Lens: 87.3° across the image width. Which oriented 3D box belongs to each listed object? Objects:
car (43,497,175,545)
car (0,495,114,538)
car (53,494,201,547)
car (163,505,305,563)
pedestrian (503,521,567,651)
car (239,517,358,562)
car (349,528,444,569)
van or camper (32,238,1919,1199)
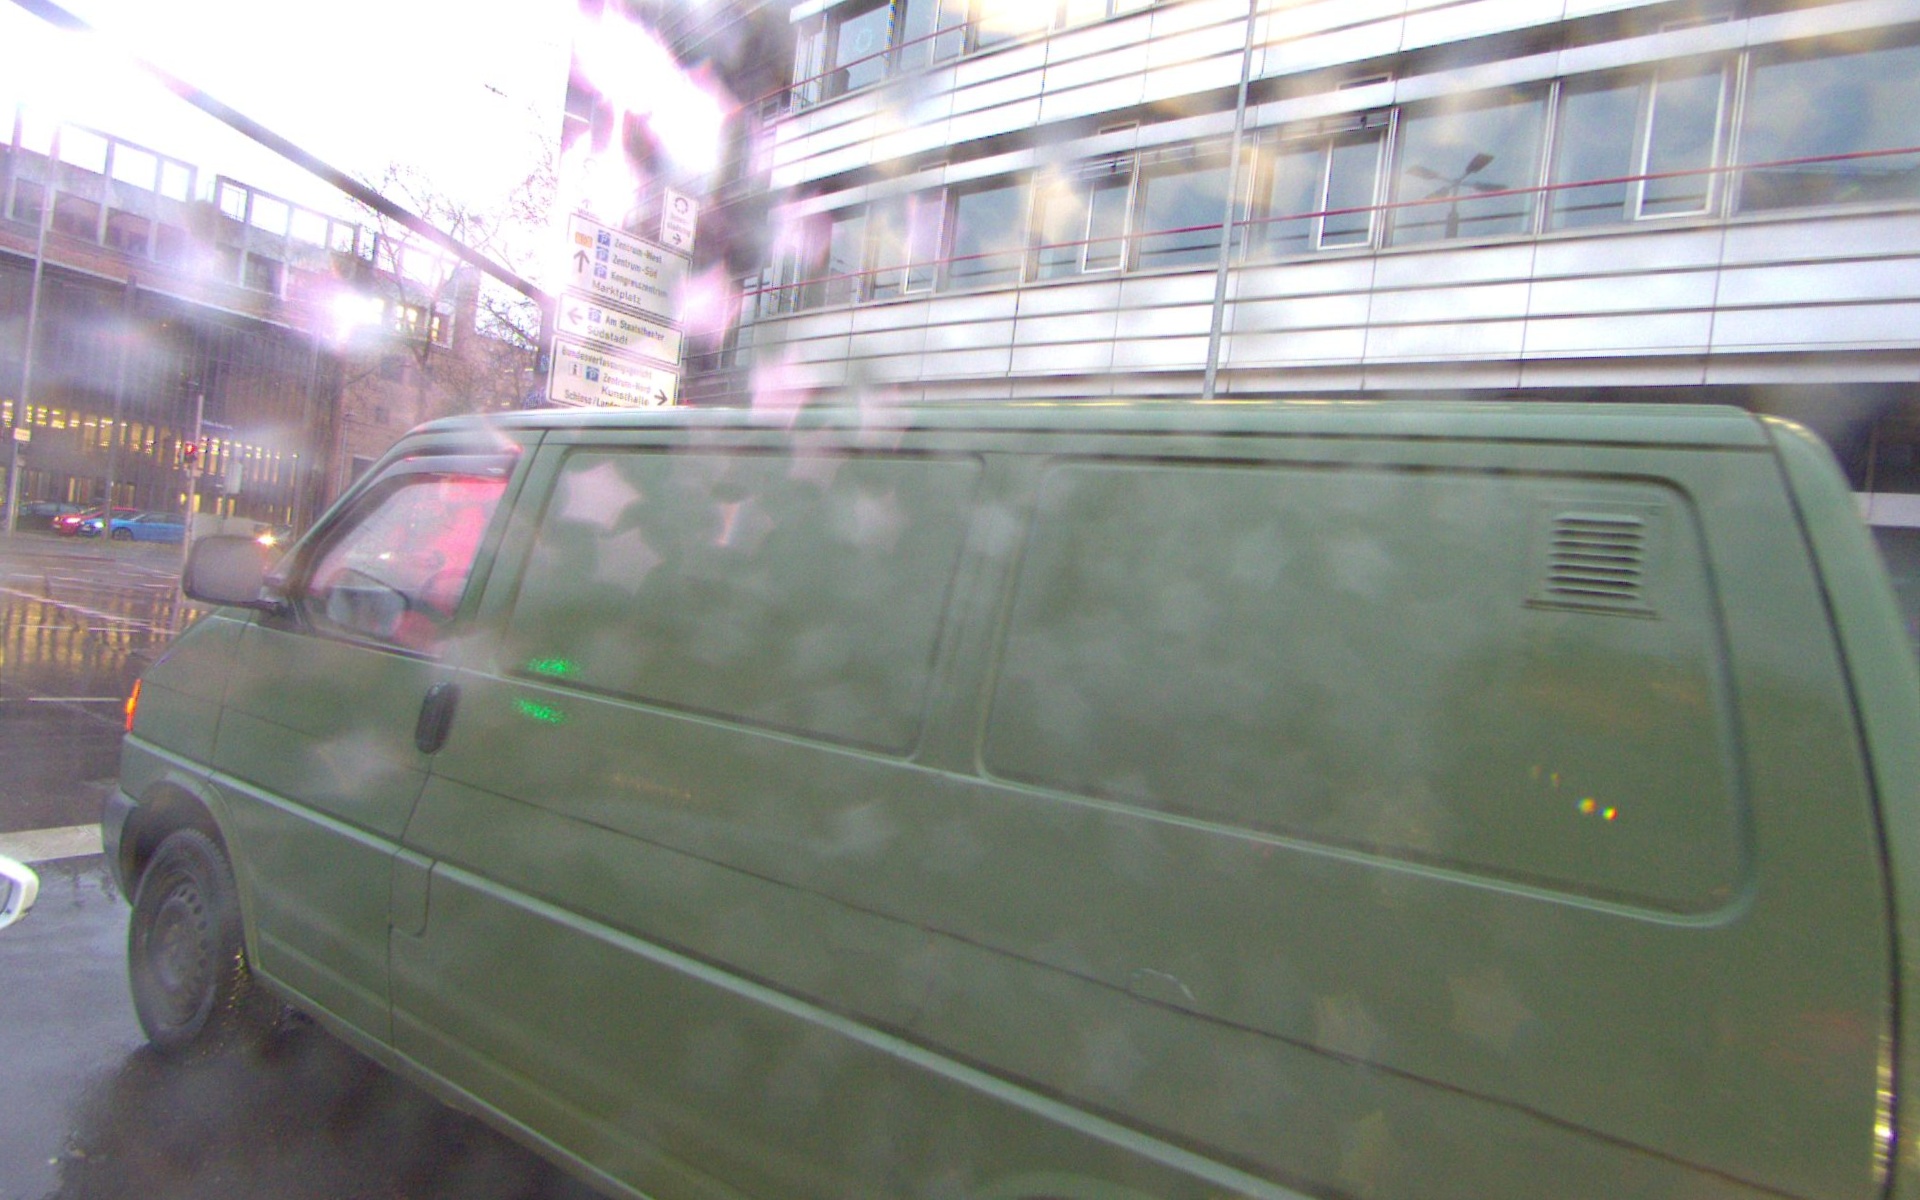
[{"bbox_3d":[-35.626,-3.296,42.203,1.814,1.278,3.729,11,1,26],"label":"car"},{"bbox_3d":[-39.353,-3.613,43.311,1.965,1.326,3.994,7,0,28],"label":"car"},{"bbox_3d":[-32.583,-3.077,39.486,1.814,1.278,3.997,11,1,26],"label":"car"},{"bbox_3d":[-28.447,-2.551,39.544,1.814,1.523,3.997,11,1,26],"label":"car"},{"bbox_3d":[-7.533,-0.236,17.830,0.609,2.210,0.576,6,0,26],"label":"pedestrian"},{"bbox_3d":[-29.779,-2.704,45.407,1.814,1.304,3.997,11,1,26],"label":"car"},{"bbox_3d":[-30.311,-2.748,54.233,1.814,1.523,3.997,11,1,26],"label":"car"},{"bbox_3d":[-0.475,0.507,2.731,4.345,1.929,1.760,7,-1,32],"label":"van or camper"}]
